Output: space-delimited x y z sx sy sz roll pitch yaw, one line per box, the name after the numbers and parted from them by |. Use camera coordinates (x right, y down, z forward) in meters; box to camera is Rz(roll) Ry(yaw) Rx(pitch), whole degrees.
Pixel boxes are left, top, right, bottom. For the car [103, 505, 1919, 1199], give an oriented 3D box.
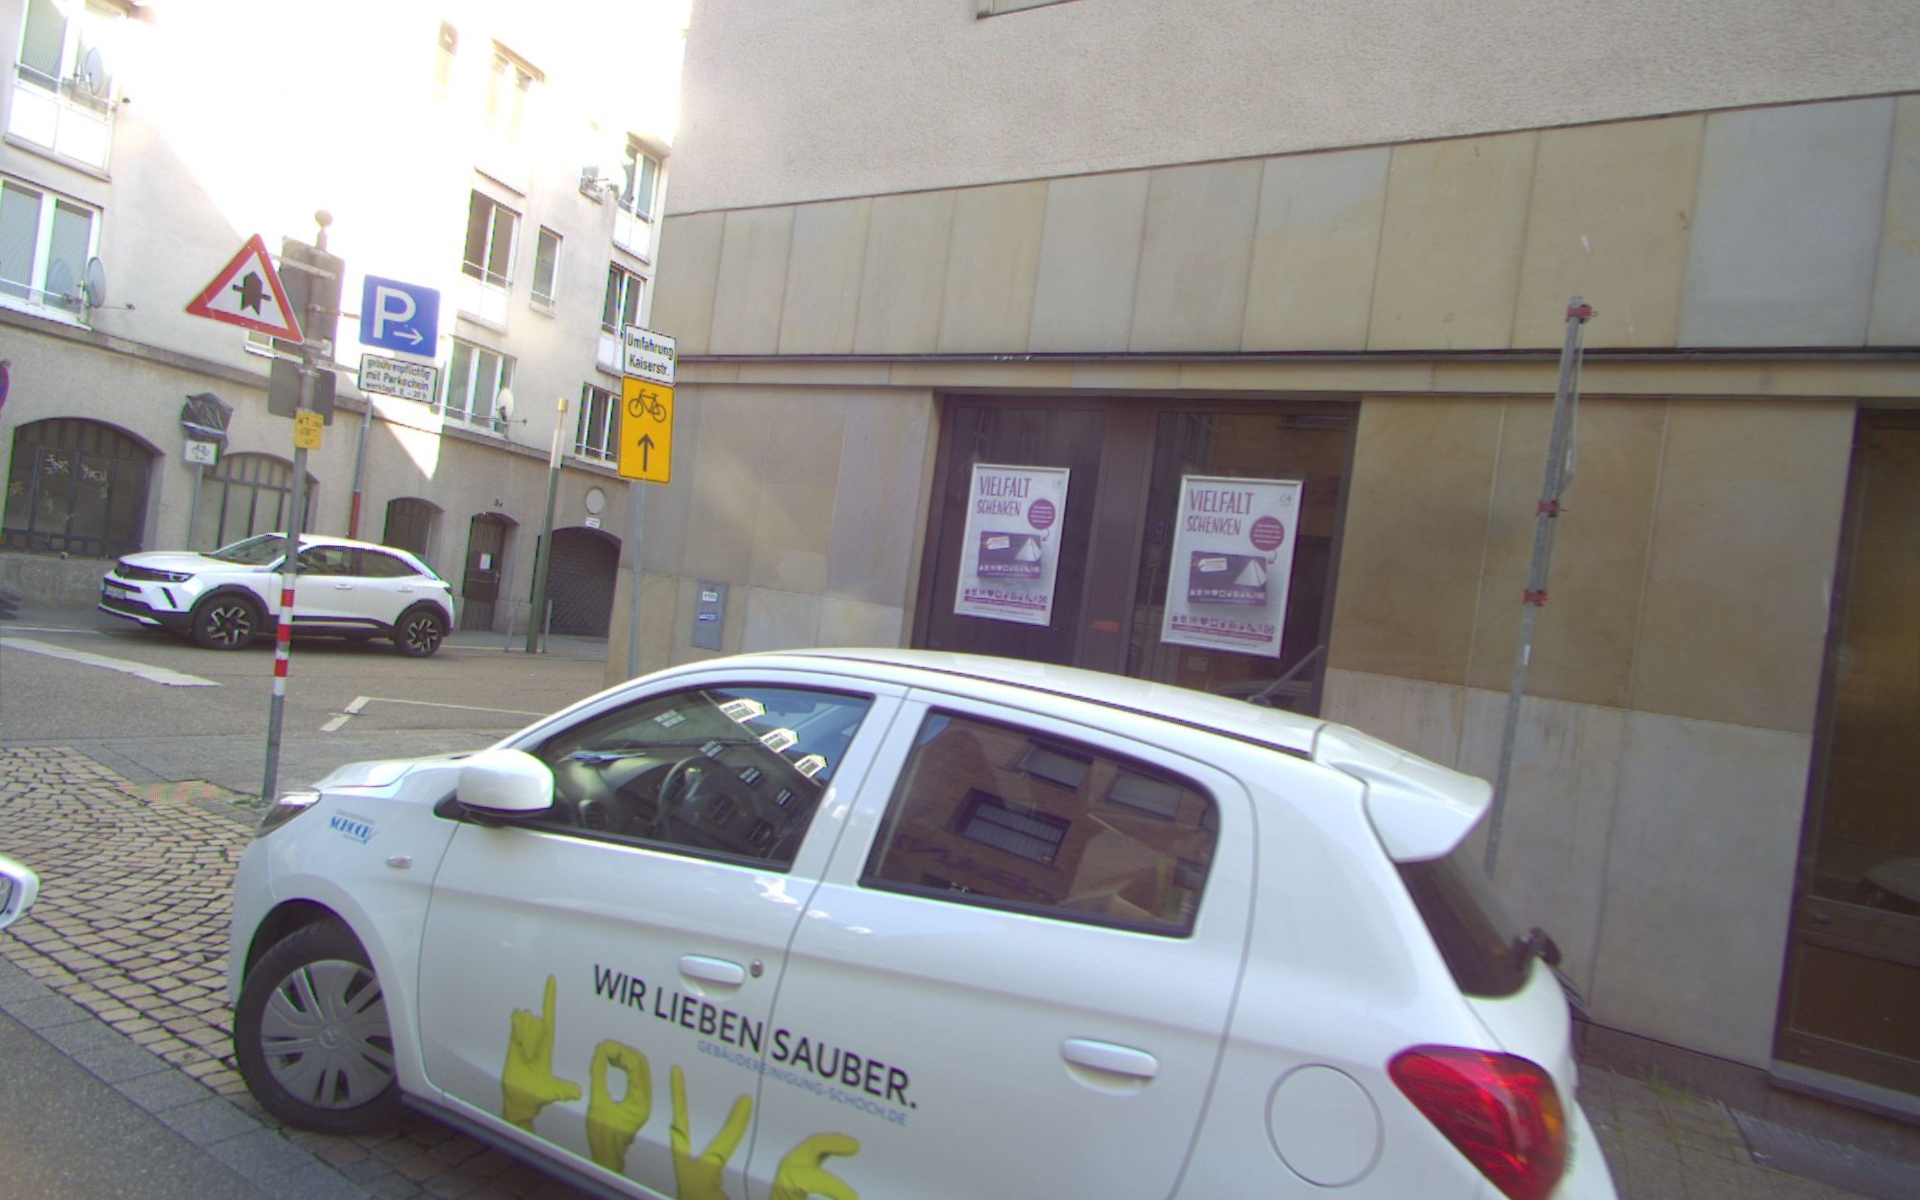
-0.224 0.798 2.930 3.990 1.536 1.894 7 -1 26 | car

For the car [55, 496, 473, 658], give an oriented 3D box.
-9.257 -0.201 13.806 1.869 1.571 4.227 7 -2 28 | car

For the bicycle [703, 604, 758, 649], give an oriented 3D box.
-5.917 0.699 26.043 0.460 1.032 1.463 8 -1 26 | bicycle
